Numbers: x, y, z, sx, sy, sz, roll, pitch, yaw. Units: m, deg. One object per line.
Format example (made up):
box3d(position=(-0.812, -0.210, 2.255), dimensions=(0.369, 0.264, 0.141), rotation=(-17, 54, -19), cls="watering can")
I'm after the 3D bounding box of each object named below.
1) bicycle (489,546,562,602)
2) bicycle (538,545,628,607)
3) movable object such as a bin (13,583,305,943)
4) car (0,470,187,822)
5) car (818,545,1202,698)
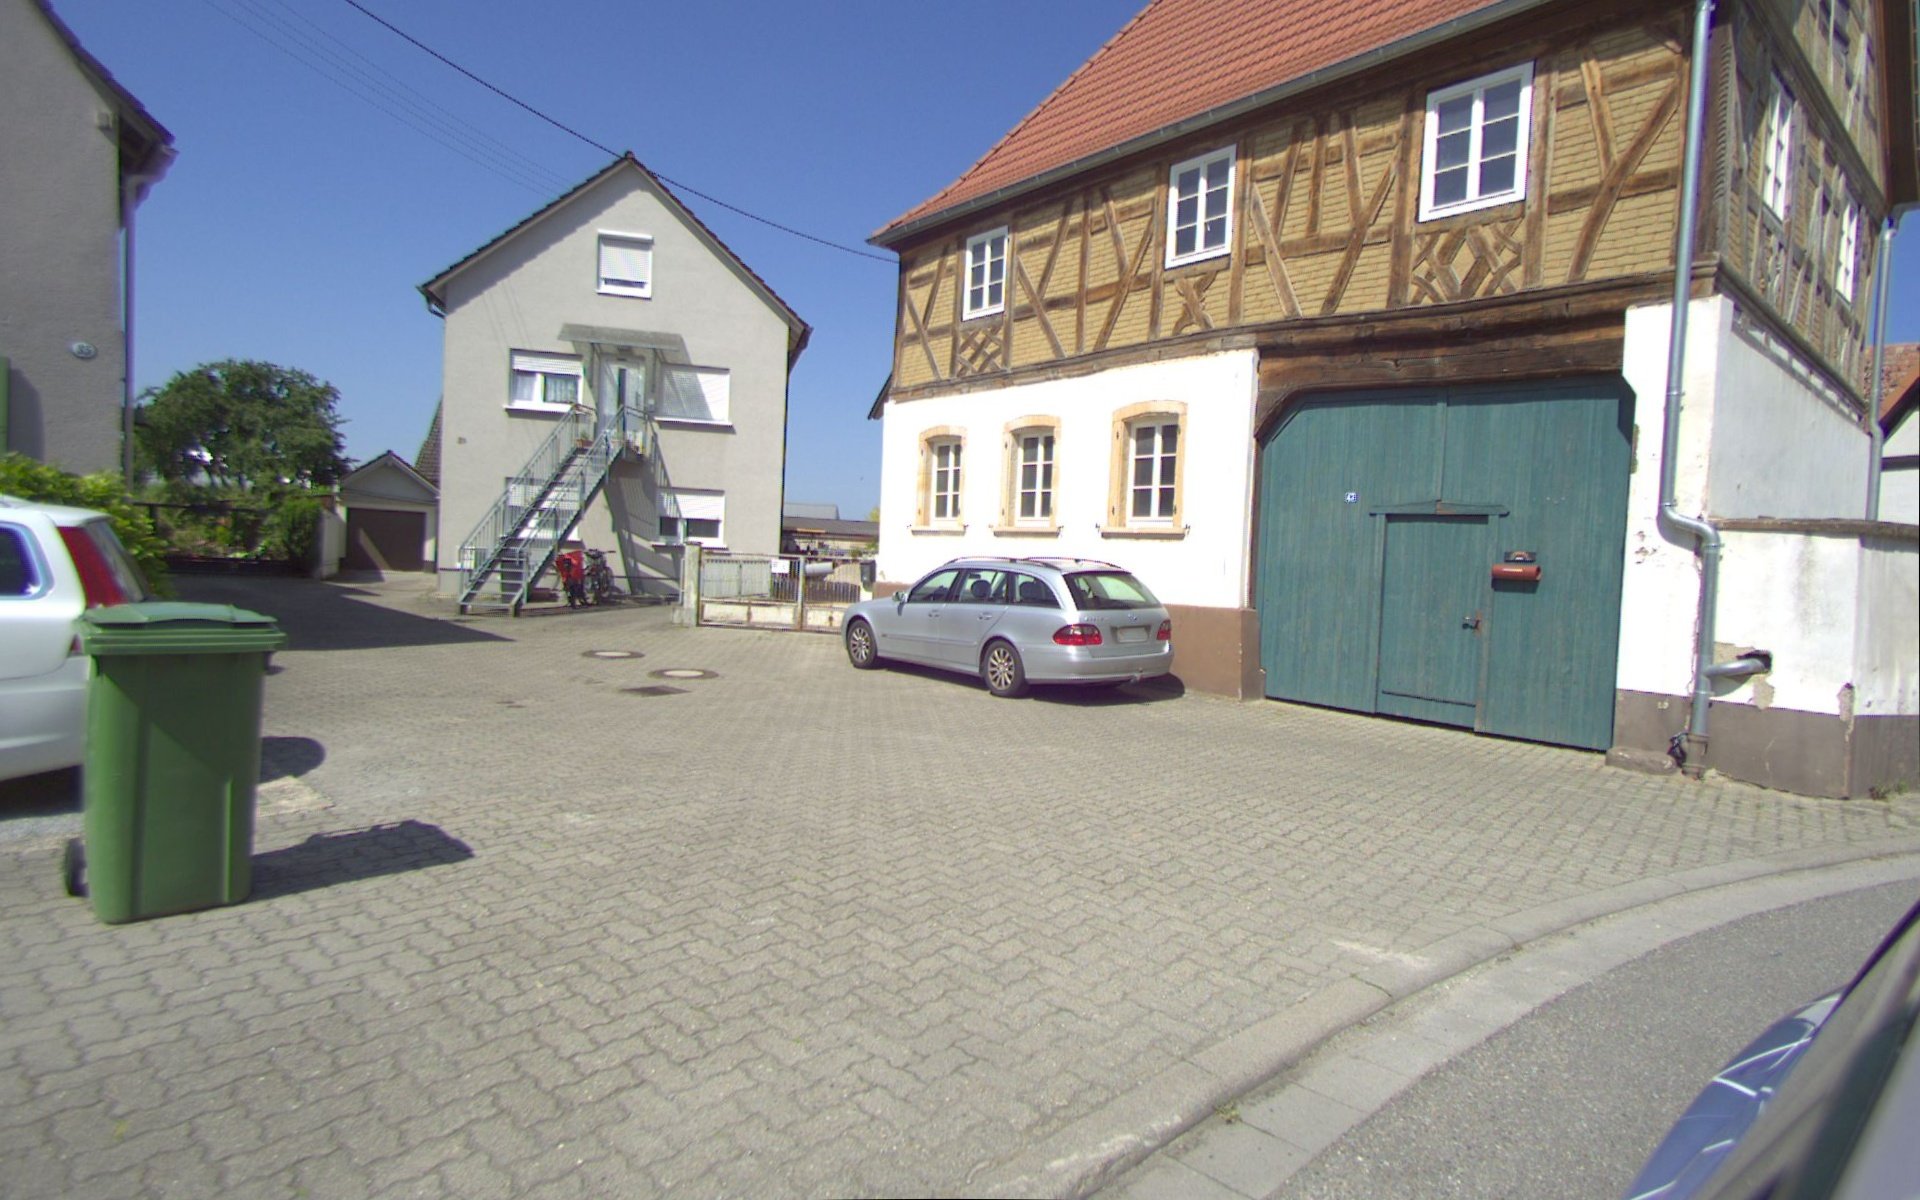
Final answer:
box3d(position=(-8.904, -0.563, 20.805), dimensions=(0.520, 1.073, 1.764), rotation=(2, 3, 9), cls="bicycle")
box3d(position=(-7.514, -0.520, 20.294), dimensions=(0.520, 1.143, 2.511), rotation=(2, 3, 9), cls="bicycle")
box3d(position=(-2.917, 0.508, 3.684), dimensions=(0.720, 1.094, 0.743), rotation=(5, 3, 44), cls="movable object such as a bin")
box3d(position=(-5.981, 0.119, 4.267), dimensions=(4.214, 1.546, 1.817), rotation=(1, 3, -35), cls="car")
box3d(position=(0.369, 0.144, 12.237), dimensions=(1.964, 1.470, 4.763), rotation=(0, 1, -39), cls="car")
